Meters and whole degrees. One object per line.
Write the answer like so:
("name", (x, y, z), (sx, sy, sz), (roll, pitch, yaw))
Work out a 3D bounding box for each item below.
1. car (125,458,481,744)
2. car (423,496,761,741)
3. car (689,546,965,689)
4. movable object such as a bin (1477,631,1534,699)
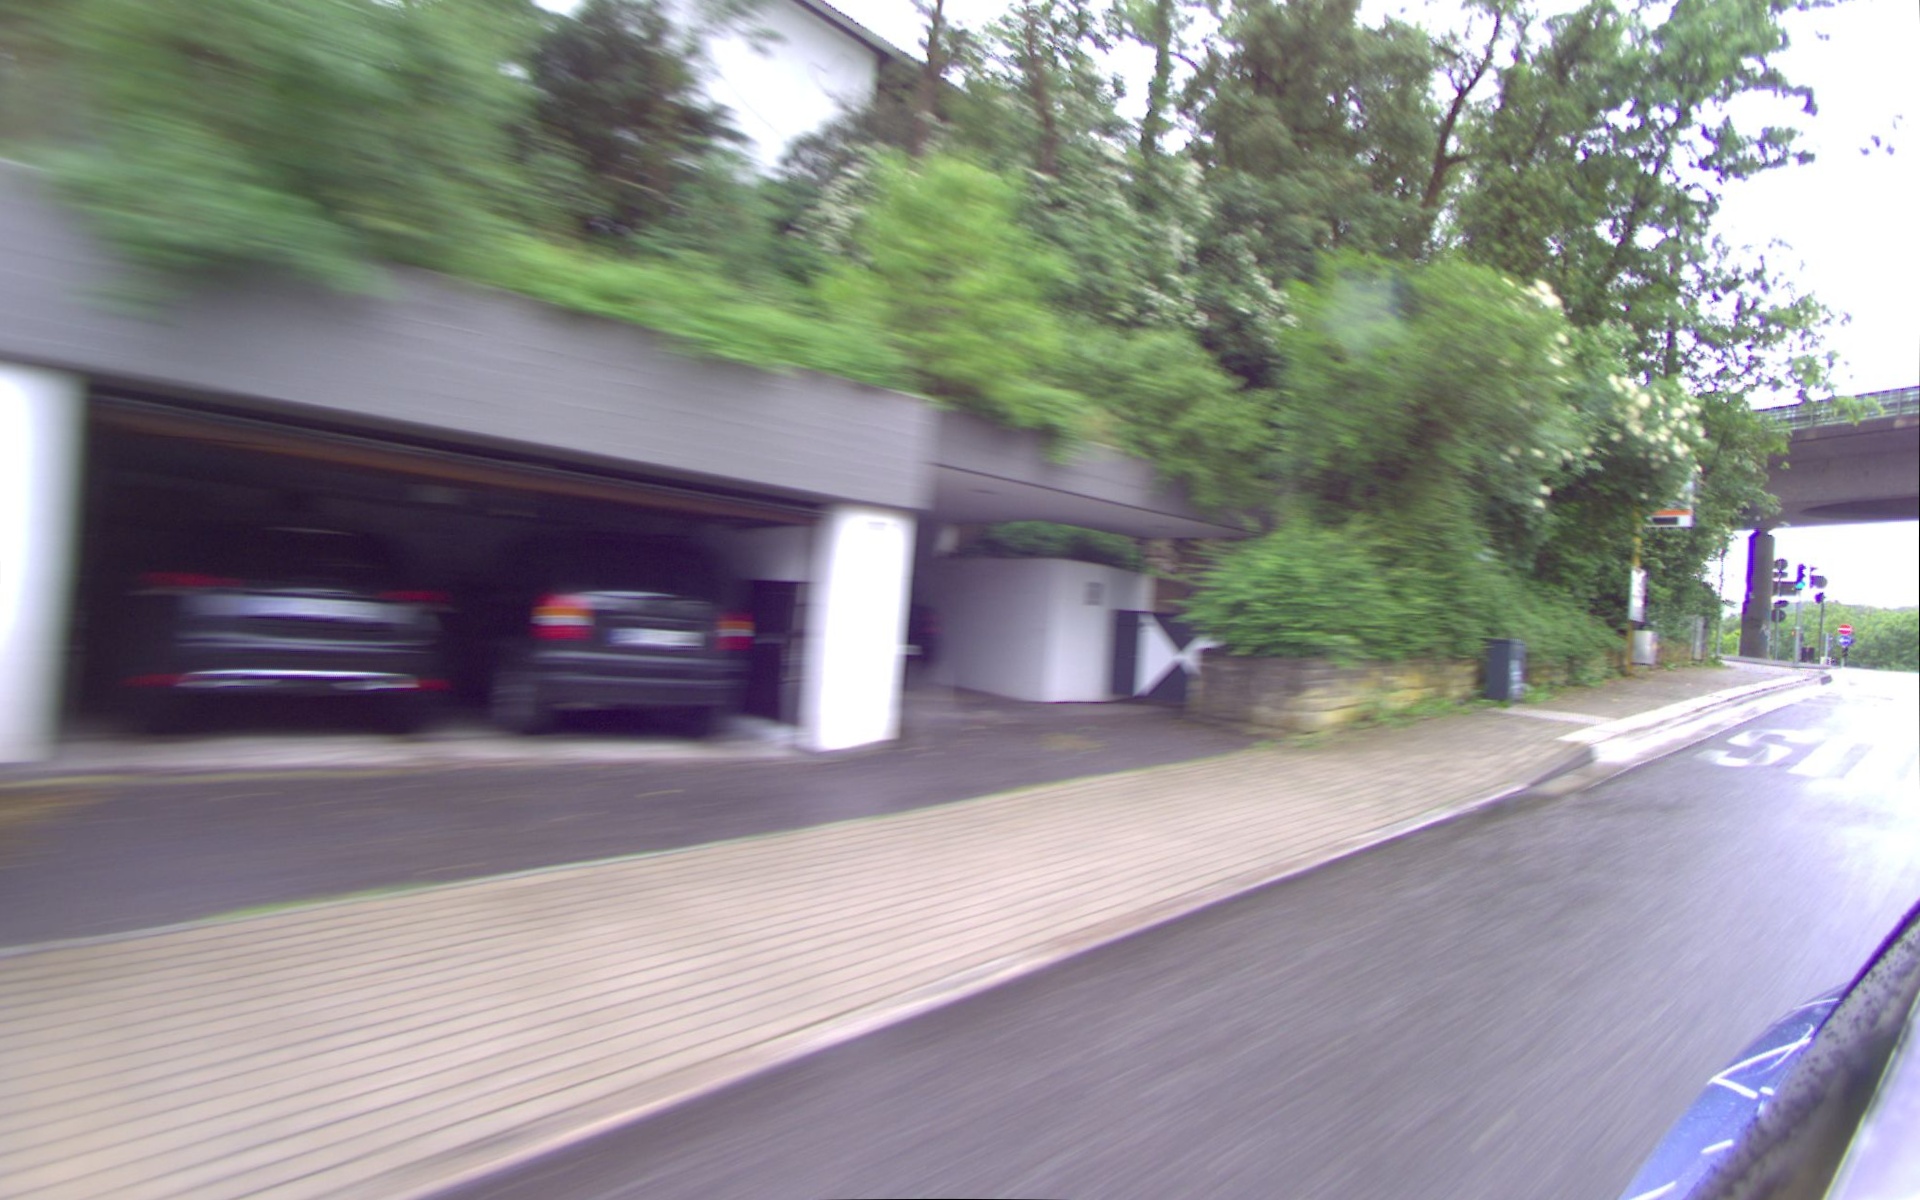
("car", (-5.243, -0.031, 7.929), (1.766, 1.649, 3.999), (5, -1, -38))
("car", (-3.435, 0.132, 9.006), (1.641, 1.697, 3.789), (5, -2, -38))
("car", (-1.801, 0.154, 12.692), (1.641, 1.462, 3.790), (5, -1, -38))
("movable object such as a bin", (6.768, 0.795, 12.549), (0.506, 0.798, 0.494), (1, 0, 44))
